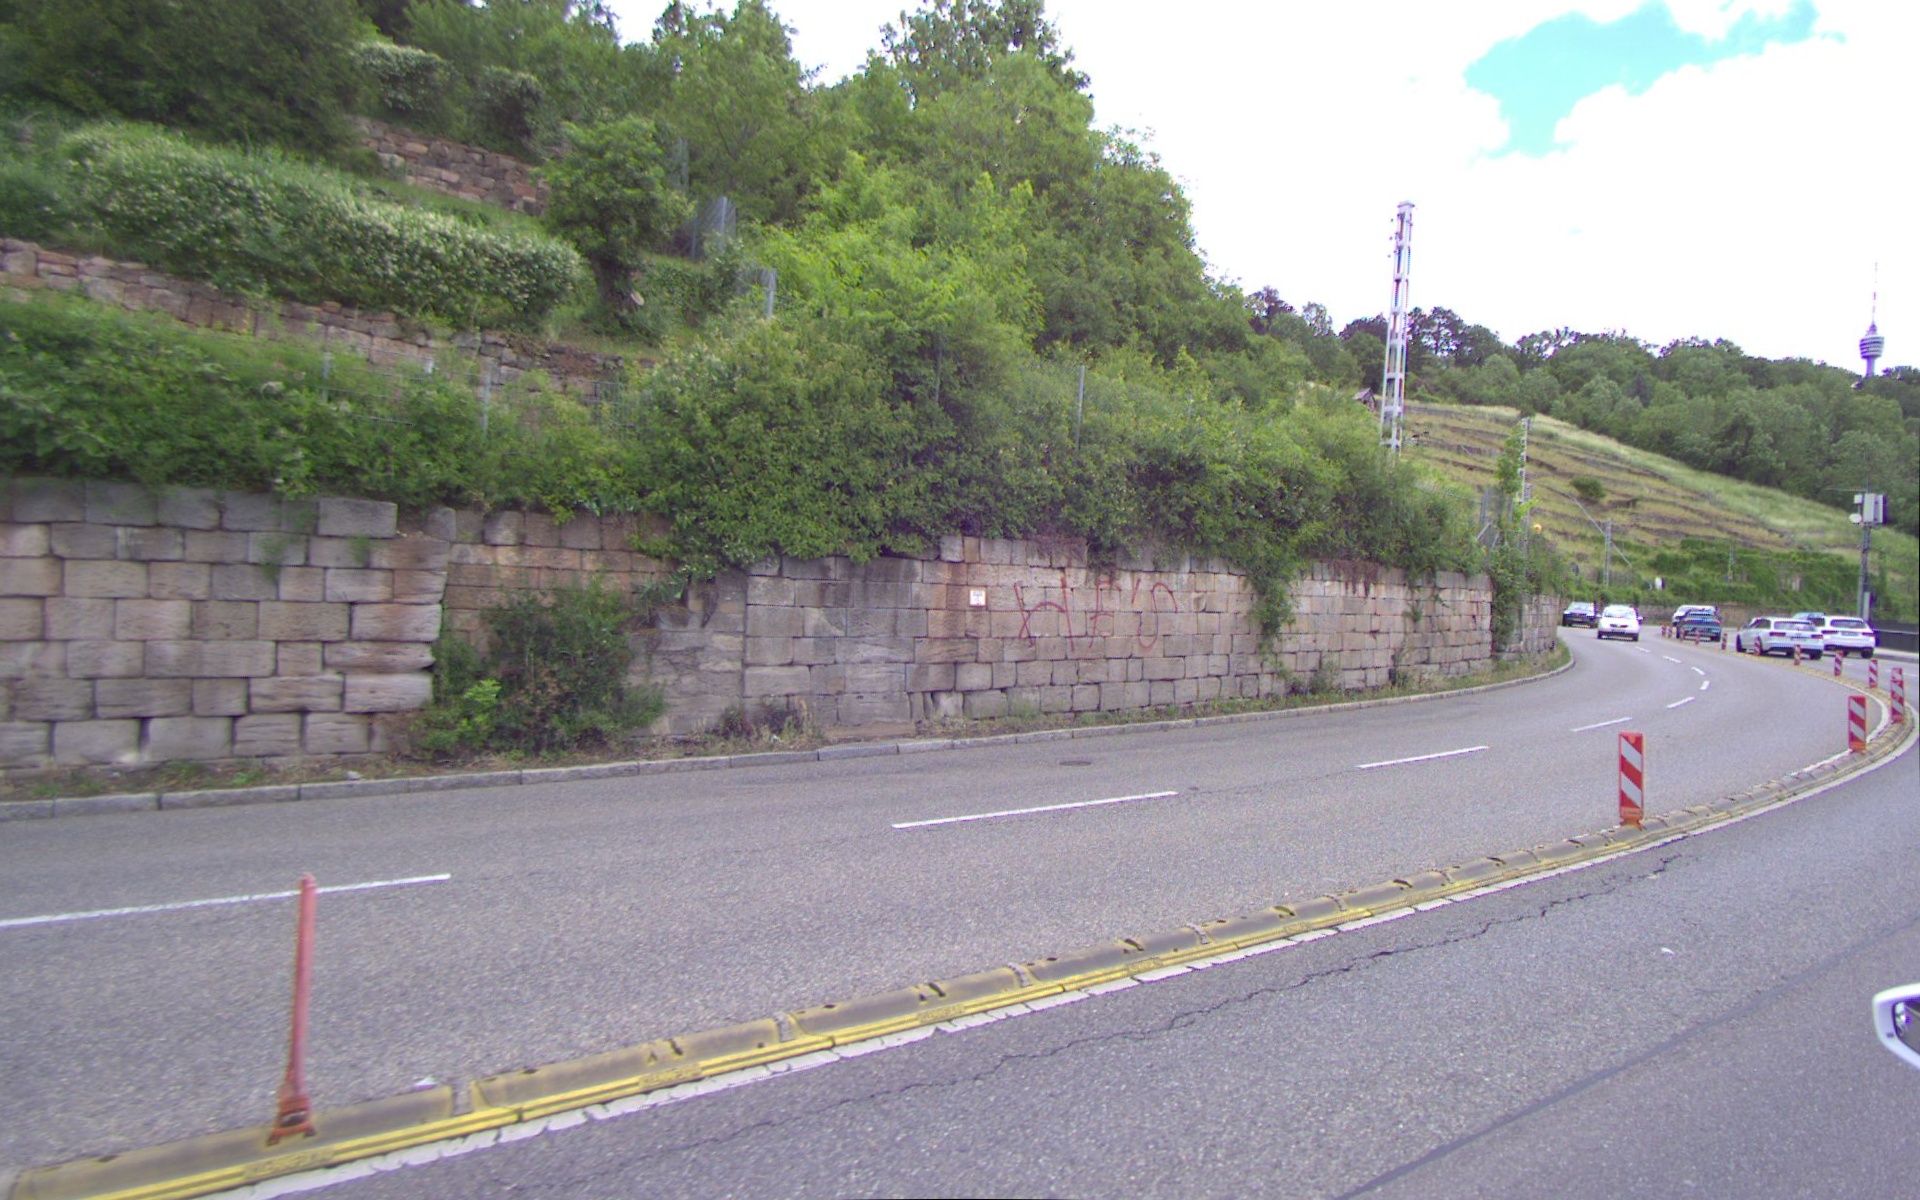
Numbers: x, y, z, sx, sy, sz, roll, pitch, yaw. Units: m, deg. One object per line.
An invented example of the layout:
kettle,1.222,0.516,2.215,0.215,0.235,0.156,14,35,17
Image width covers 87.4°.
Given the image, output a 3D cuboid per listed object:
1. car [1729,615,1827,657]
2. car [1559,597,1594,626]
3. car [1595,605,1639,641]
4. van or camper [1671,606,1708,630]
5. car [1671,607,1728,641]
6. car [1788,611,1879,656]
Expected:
car,31.459,1.428,38.777,1.963,1.522,4.663,0,-3,27
car,41.222,0.778,67.247,1.816,1.748,4.454,3,0,31
car,31.406,1.052,48.035,1.678,1.569,3.988,2,1,33
van or camper,64.837,1.623,89.197,2.124,2.043,4.936,0,-1,42
car,40.072,1.336,54.498,1.964,1.670,3.994,-1,-4,29
car,36.693,1.438,42.297,1.964,1.740,4.109,-1,-4,28
